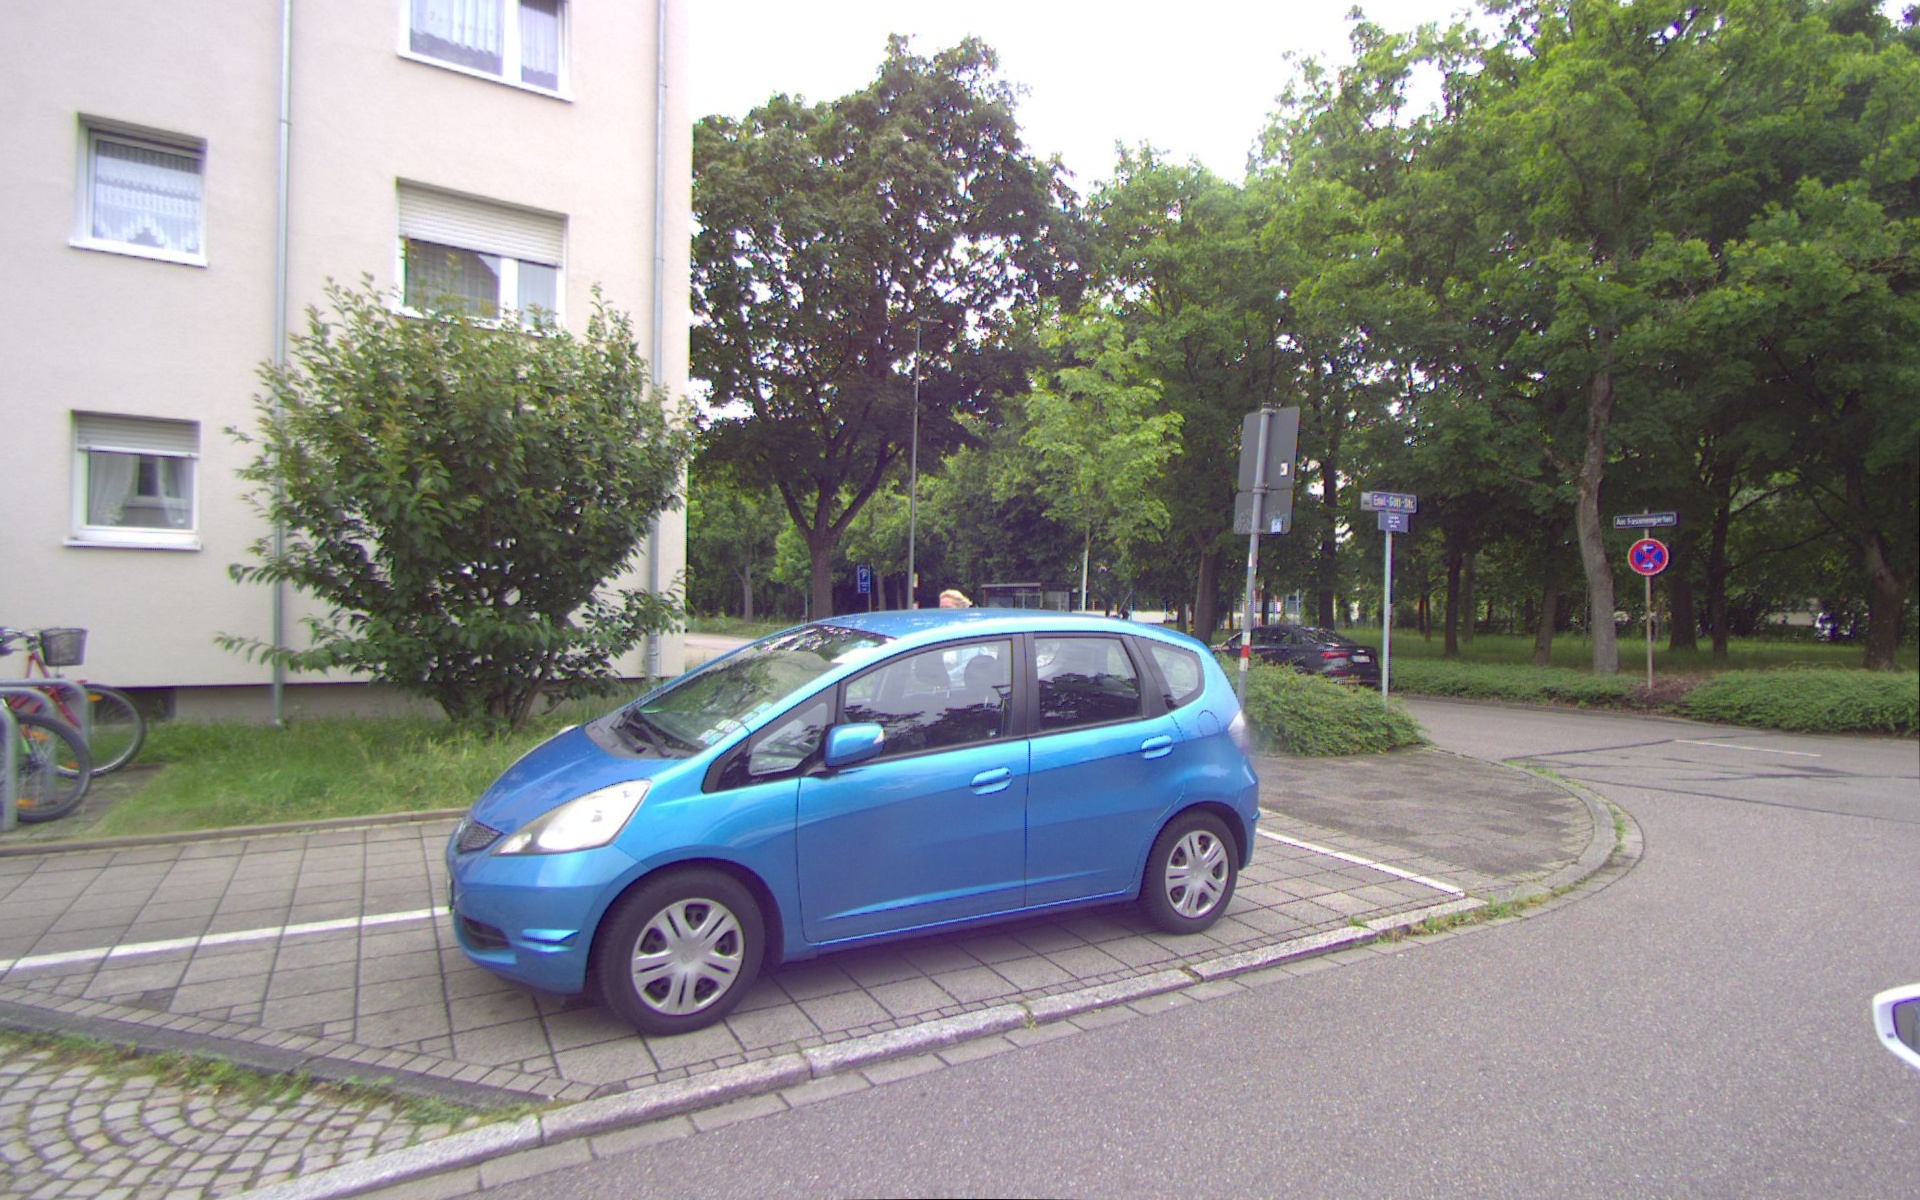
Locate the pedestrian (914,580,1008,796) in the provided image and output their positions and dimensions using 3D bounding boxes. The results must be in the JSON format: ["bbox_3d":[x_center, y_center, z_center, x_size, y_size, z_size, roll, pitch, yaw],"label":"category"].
[{"bbox_3d":[-0.002,0.649,7.617,0.558,1.571,0.446,1,3,-17],"label":"pedestrian"}]

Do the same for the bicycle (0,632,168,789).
[{"bbox_3d":[-7.120,0.783,7.222,2.149,1.085,0.654,1,0,-30],"label":"bicycle"}]

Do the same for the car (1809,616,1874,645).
[{"bbox_3d":[51.329,1.766,58.474,3.959,1.639,1.905,1,-1,-34],"label":"car"}]

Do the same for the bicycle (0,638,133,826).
[{"bbox_3d":[-6.272,0.782,5.894,2.097,1.082,0.654,1,0,-30],"label":"bicycle"}]

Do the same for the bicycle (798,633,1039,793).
[{"bbox_3d":[-0.329,0.859,7.894,1.789,1.135,0.536,1,3,-18],"label":"bicycle"}]

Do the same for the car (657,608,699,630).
[{"bbox_3d":[-19.653,1.313,69.821,1.883,1.506,3.967,1,-1,-31],"label":"car"}]

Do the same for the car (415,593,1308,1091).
[{"bbox_3d":[-0.361,0.775,4.839,3.911,1.482,1.721,1,2,-31],"label":"car"}]

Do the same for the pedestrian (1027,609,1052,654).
[{"bbox_3d":[2.848,1.109,35.943,0.648,1.604,0.693,0,0,-29],"label":"pedestrian"}]

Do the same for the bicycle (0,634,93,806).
[{"bbox_3d":[-6.976,0.772,6.356,2.149,1.085,0.654,1,0,-30],"label":"bicycle"}]

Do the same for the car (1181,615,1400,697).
[{"bbox_3d":[6.746,1.111,20.879,1.850,1.481,4.081,4,-2,-31],"label":"car"}]
